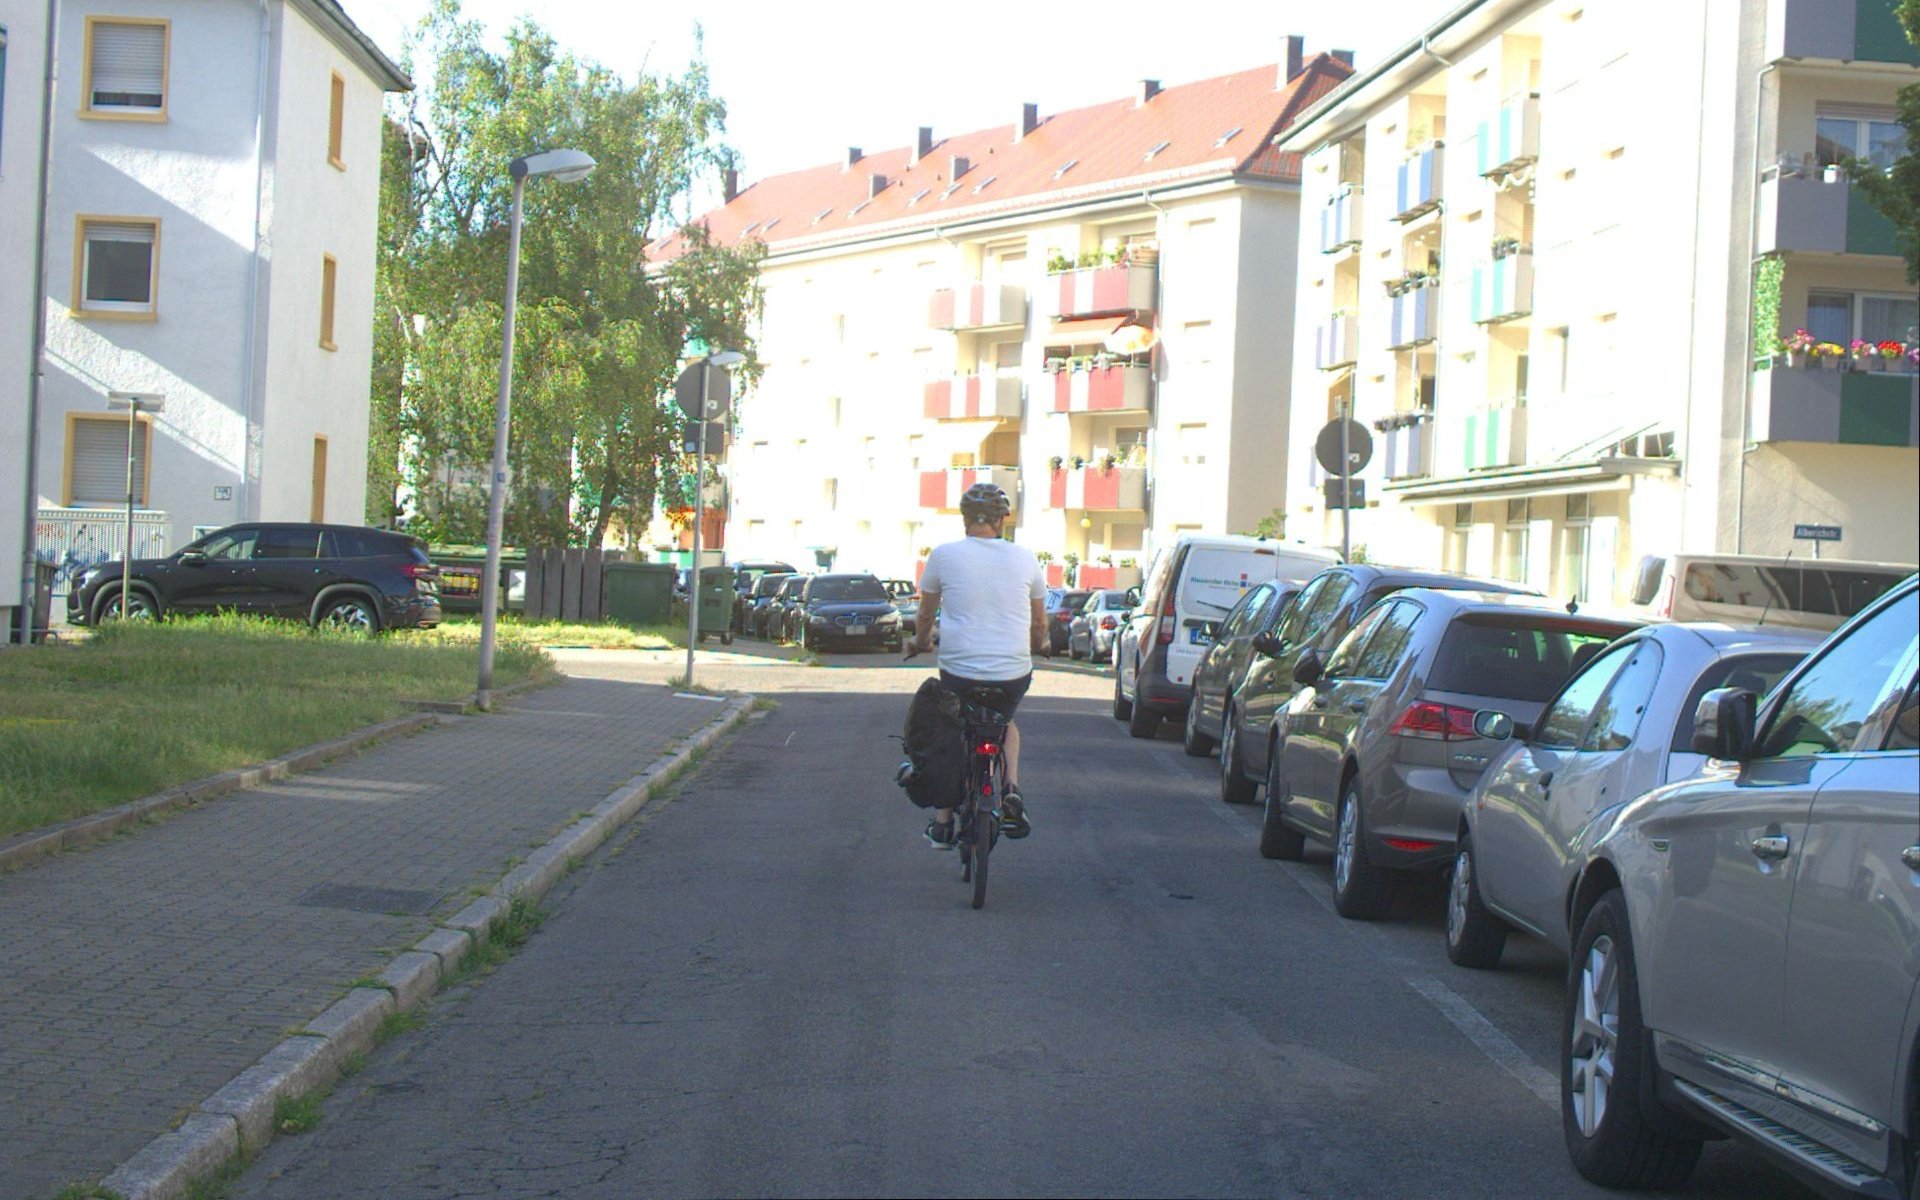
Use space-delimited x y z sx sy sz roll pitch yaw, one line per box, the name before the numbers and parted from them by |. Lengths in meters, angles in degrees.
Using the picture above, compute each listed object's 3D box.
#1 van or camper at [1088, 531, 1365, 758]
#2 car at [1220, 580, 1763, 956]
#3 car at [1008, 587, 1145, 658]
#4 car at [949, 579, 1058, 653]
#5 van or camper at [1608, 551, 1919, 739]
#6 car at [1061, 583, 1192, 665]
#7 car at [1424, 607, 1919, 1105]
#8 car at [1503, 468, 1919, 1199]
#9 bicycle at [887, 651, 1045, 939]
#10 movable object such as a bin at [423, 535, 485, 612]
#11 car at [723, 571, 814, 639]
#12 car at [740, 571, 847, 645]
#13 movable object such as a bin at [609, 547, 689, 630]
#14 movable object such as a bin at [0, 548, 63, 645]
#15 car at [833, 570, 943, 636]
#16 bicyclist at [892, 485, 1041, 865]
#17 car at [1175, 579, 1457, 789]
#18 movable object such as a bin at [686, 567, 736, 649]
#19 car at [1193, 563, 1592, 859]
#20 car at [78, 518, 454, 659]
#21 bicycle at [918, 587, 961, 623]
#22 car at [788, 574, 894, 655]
van or camper | 2.295 0.338 30.792 1.792 1.742 4.735 4 1 -2
car | 2.328 0.679 16.044 1.628 1.445 3.952 2 1 -4
car | 2.443 0.462 73.568 1.693 1.427 4.689 1 0 -14
car | 0.988 0.344 80.240 1.693 1.650 4.391 1 0 -10
van or camper | 10.568 0.555 41.223 5.123 2.006 2.000 3 2 0
car | 3.233 0.441 67.663 1.677 1.442 4.725 2 1 -8
car | 2.734 0.799 12.153 1.628 1.389 3.489 4 1 0
car | 2.475 0.685 6.837 1.775 1.713 4.308 5 1 -3
bicycle | 0.015 0.802 14.796 0.627 1.111 1.816 0 1 -1
movable object such as a bin | -9.619 -0.499 65.337 1.060 1.430 1.003 1 0 -3
car | -4.177 0.089 74.475 1.555 1.437 3.969 0 0 -9
car | -3.386 0.141 69.215 1.677 1.437 4.281 0 0 -9
movable object such as a bin | -5.431 -0.196 60.115 1.220 1.376 0.767 3 0 2
movable object such as a bin | -9.938 -0.039 36.483 0.612 0.988 0.715 3 1 -2
car | -1.956 0.076 92.743 1.765 1.630 4.043 0 2 -19
bicyclist | 0.023 0.310 14.767 0.596 1.573 0.907 1 0 0
car | 2.584 0.569 25.687 1.572 1.412 3.788 0 1 -2
movable object such as a bin | -4.336 0.133 59.826 0.775 1.388 1.417 2 0 -3
car | 2.535 0.602 20.949 1.617 1.545 3.612 3 1 -5
car | -8.948 -0.134 44.596 4.488 1.658 1.719 2 -1 0
bicycle | -0.608 0.139 102.019 0.617 0.975 1.896 -1 3 -22
car | -2.248 0.243 64.005 1.677 1.448 4.621 0 0 -5
